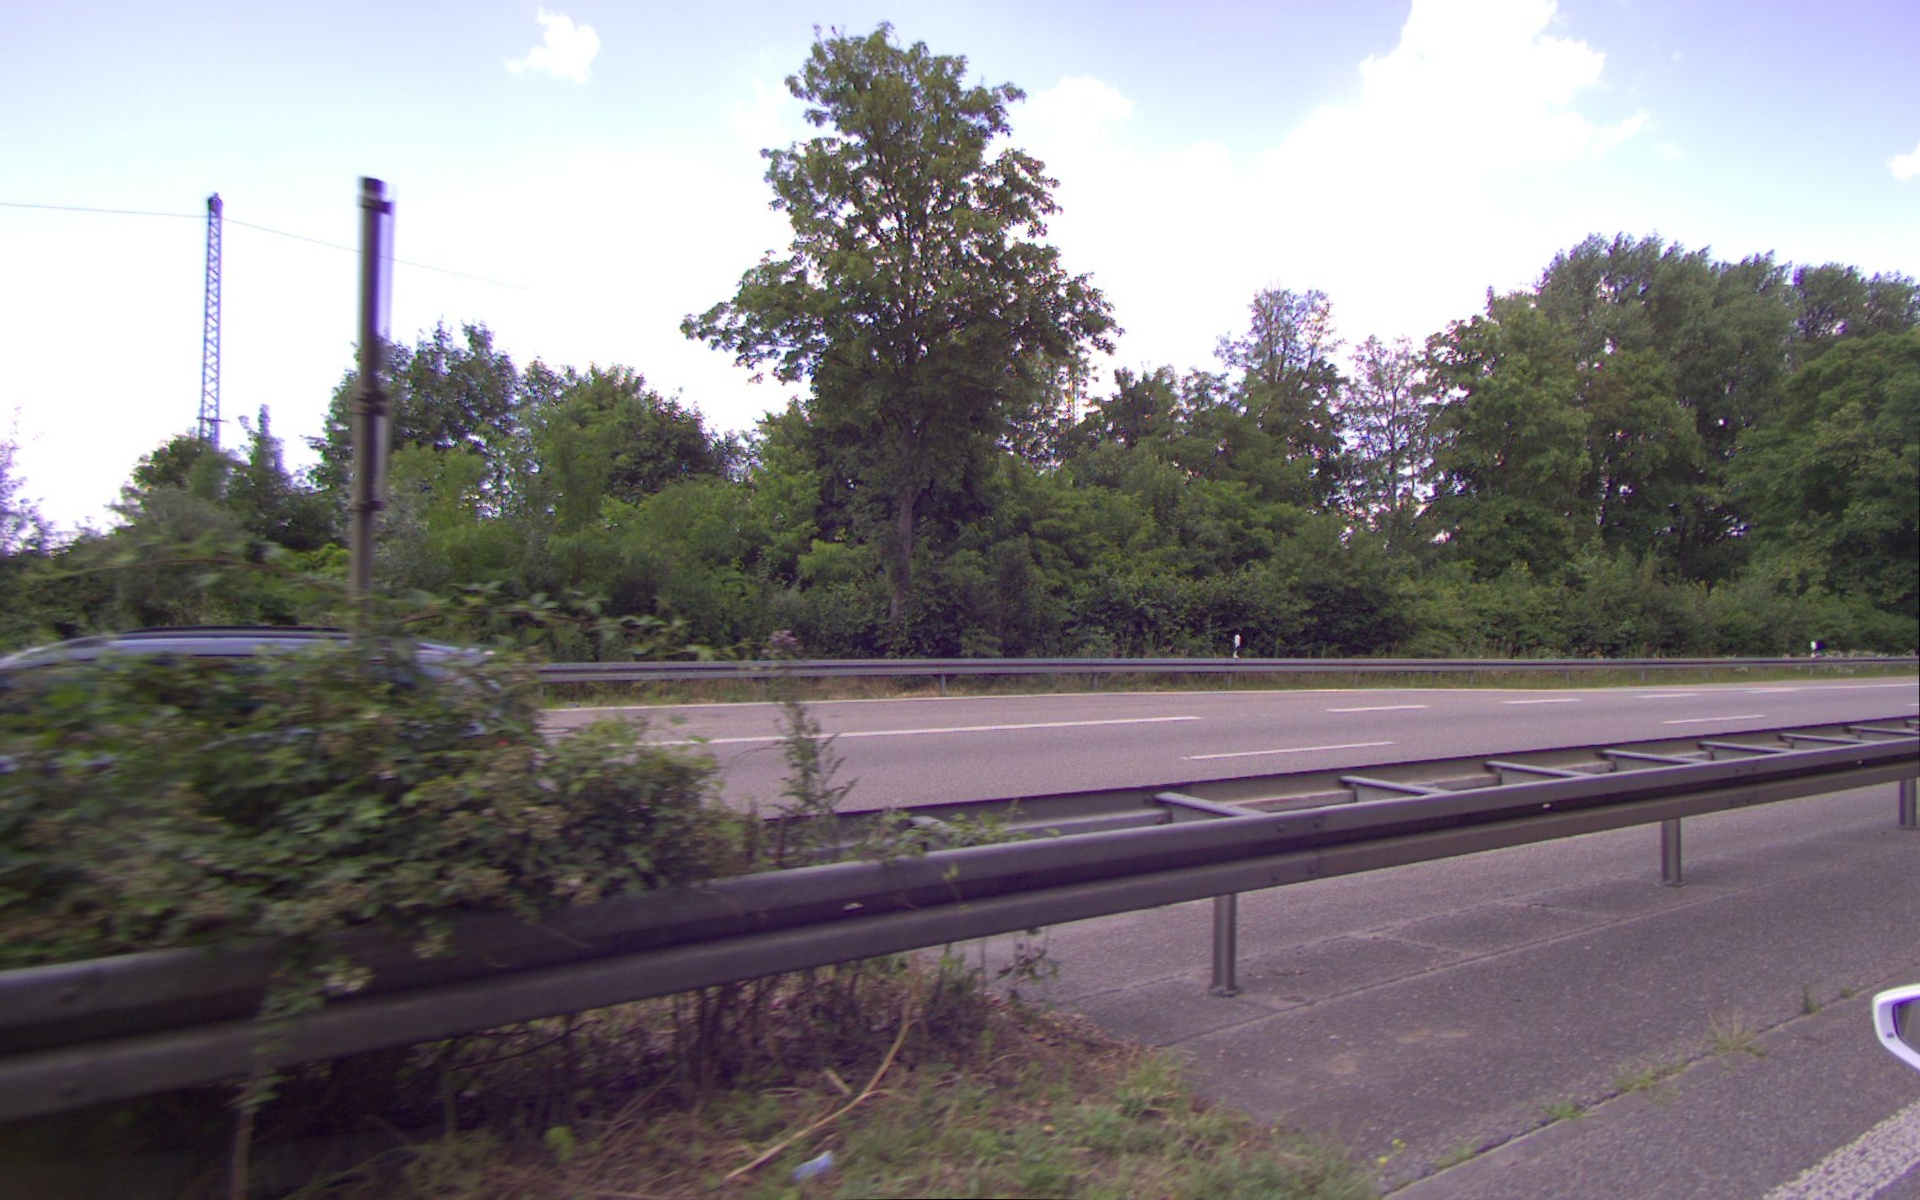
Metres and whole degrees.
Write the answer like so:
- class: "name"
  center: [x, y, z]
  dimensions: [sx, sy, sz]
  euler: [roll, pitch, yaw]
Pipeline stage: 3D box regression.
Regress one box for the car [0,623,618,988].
- class: "car"
  center: [-3.904, 0.963, 5.678]
  dimensions: [3.491, 1.629, 1.578]
  euler: [1, -1, -30]
